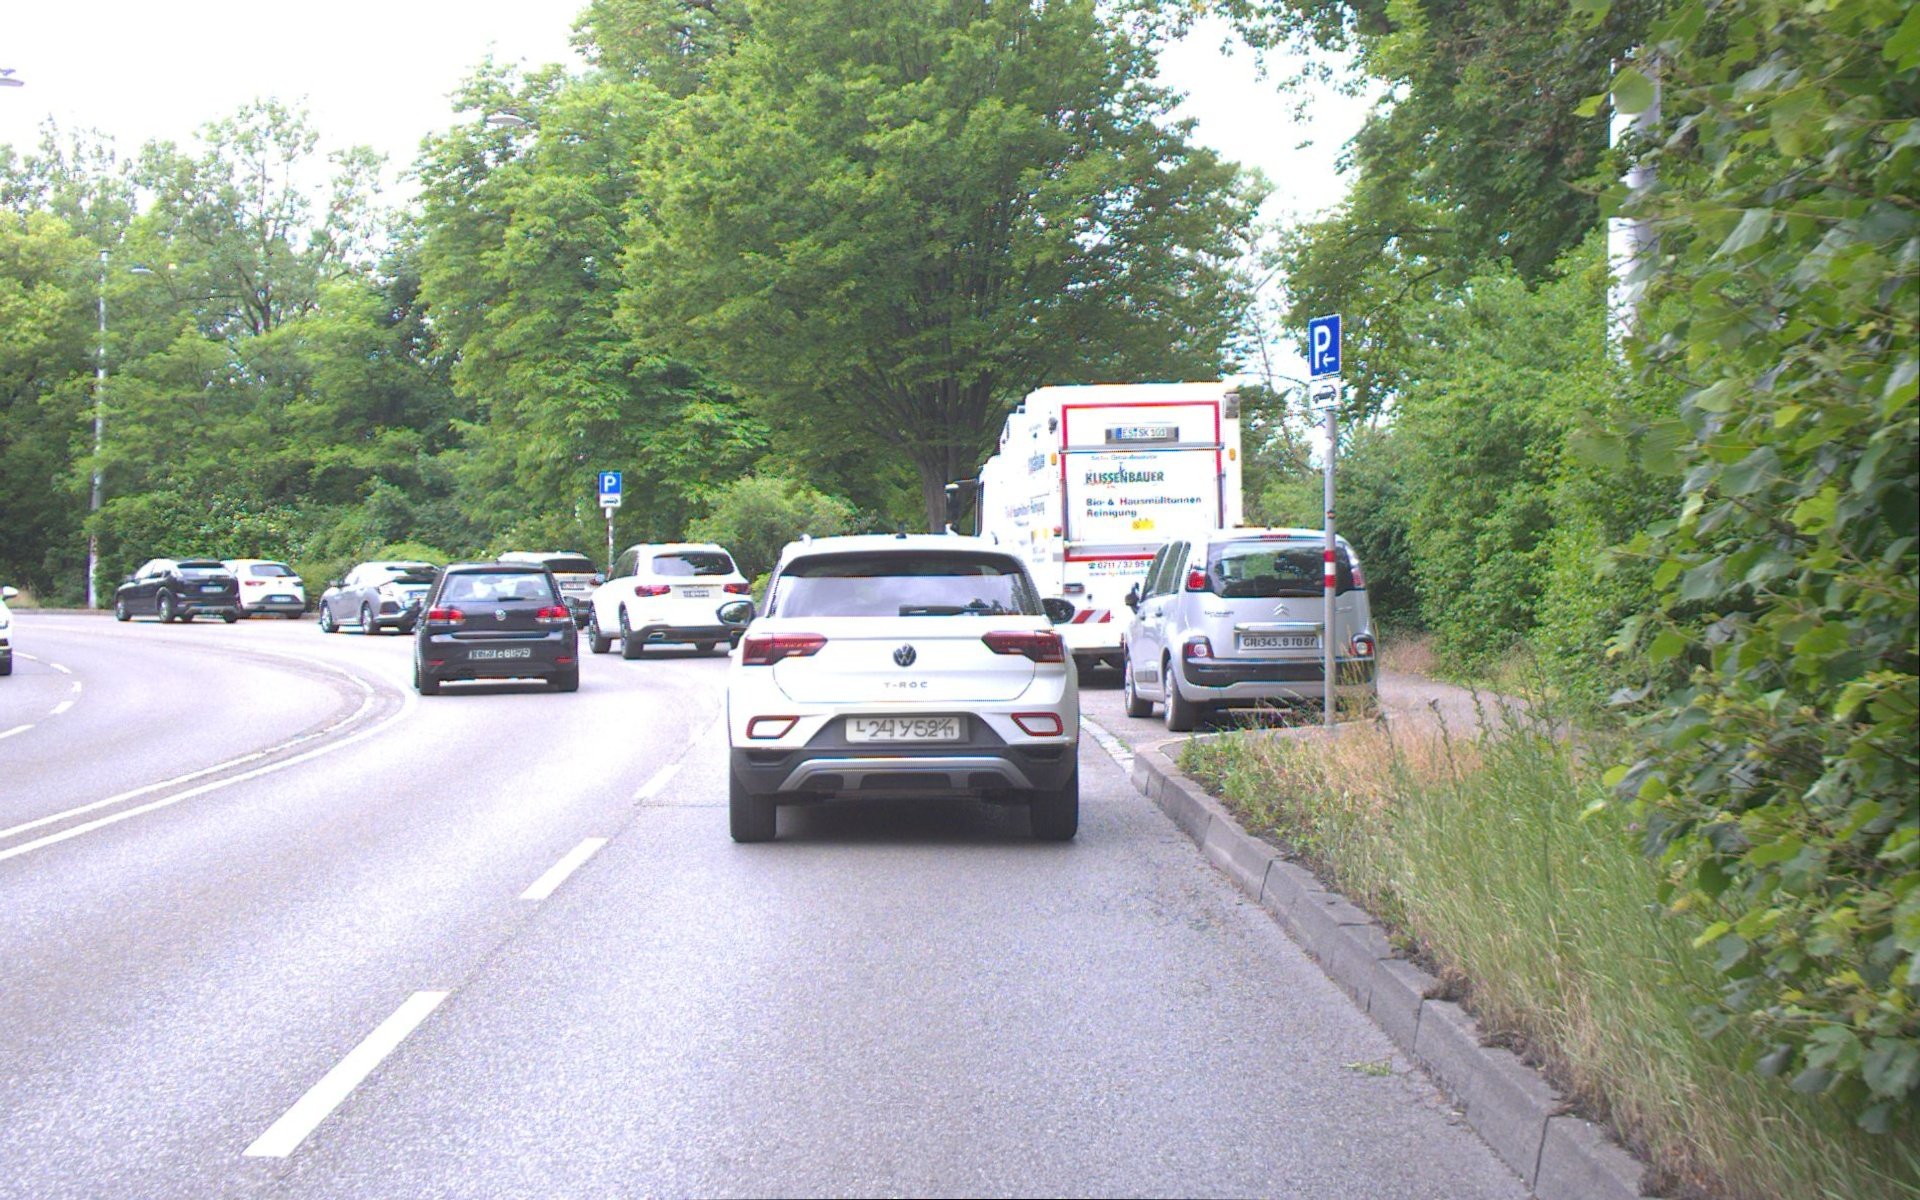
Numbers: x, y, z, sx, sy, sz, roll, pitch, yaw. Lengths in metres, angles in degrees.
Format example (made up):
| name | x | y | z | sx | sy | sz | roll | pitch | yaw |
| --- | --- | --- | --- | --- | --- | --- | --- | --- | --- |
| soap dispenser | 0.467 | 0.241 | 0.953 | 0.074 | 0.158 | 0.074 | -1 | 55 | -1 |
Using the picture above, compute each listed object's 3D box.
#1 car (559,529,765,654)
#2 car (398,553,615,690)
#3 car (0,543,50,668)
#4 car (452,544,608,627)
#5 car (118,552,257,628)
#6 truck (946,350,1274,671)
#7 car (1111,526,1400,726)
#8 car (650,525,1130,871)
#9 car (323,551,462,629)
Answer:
| name | x | y | z | sx | sy | sz | roll | pitch | yaw |
| --- | --- | --- | --- | --- | --- | --- | --- | --- | --- |
| car | -4.396 | -0.166 | 50.216 | 1.851 | 1.697 | 4.001 | -2 | 2 | -22 |
| car | -5.049 | 0.218 | 38.779 | 1.949 | 1.461 | 4.000 | 0 | 0 | 0 |
| car | -14.823 | 0.073 | 48.516 | 1.857 | 1.689 | 4.433 | -4 | 3 | -44 |
| car | -8.968 | -0.312 | 71.467 | 1.758 | 1.646 | 4.381 | -1 | 1 | -28 |
| car | -17.799 | -0.248 | 79.114 | 1.766 | 1.601 | 4.000 | 2 | 0 | -34 |
| truck | 1.528 | -0.939 | 38.726 | 2.481 | 3.171 | 7.230 | 2 | 0 | -6 |
| car | 2.396 | 0.188 | 28.810 | 1.802 | 1.519 | 4.001 | -1 | 0 | -4 |
| car | -0.505 | 0.458 | 18.524 | 2.000 | 1.590 | 4.001 | 2 | 0 | -9 |
| car | -11.045 | -0.211 | 66.732 | 1.425 | 1.384 | 4.001 | 2 | 0 | -28 |
